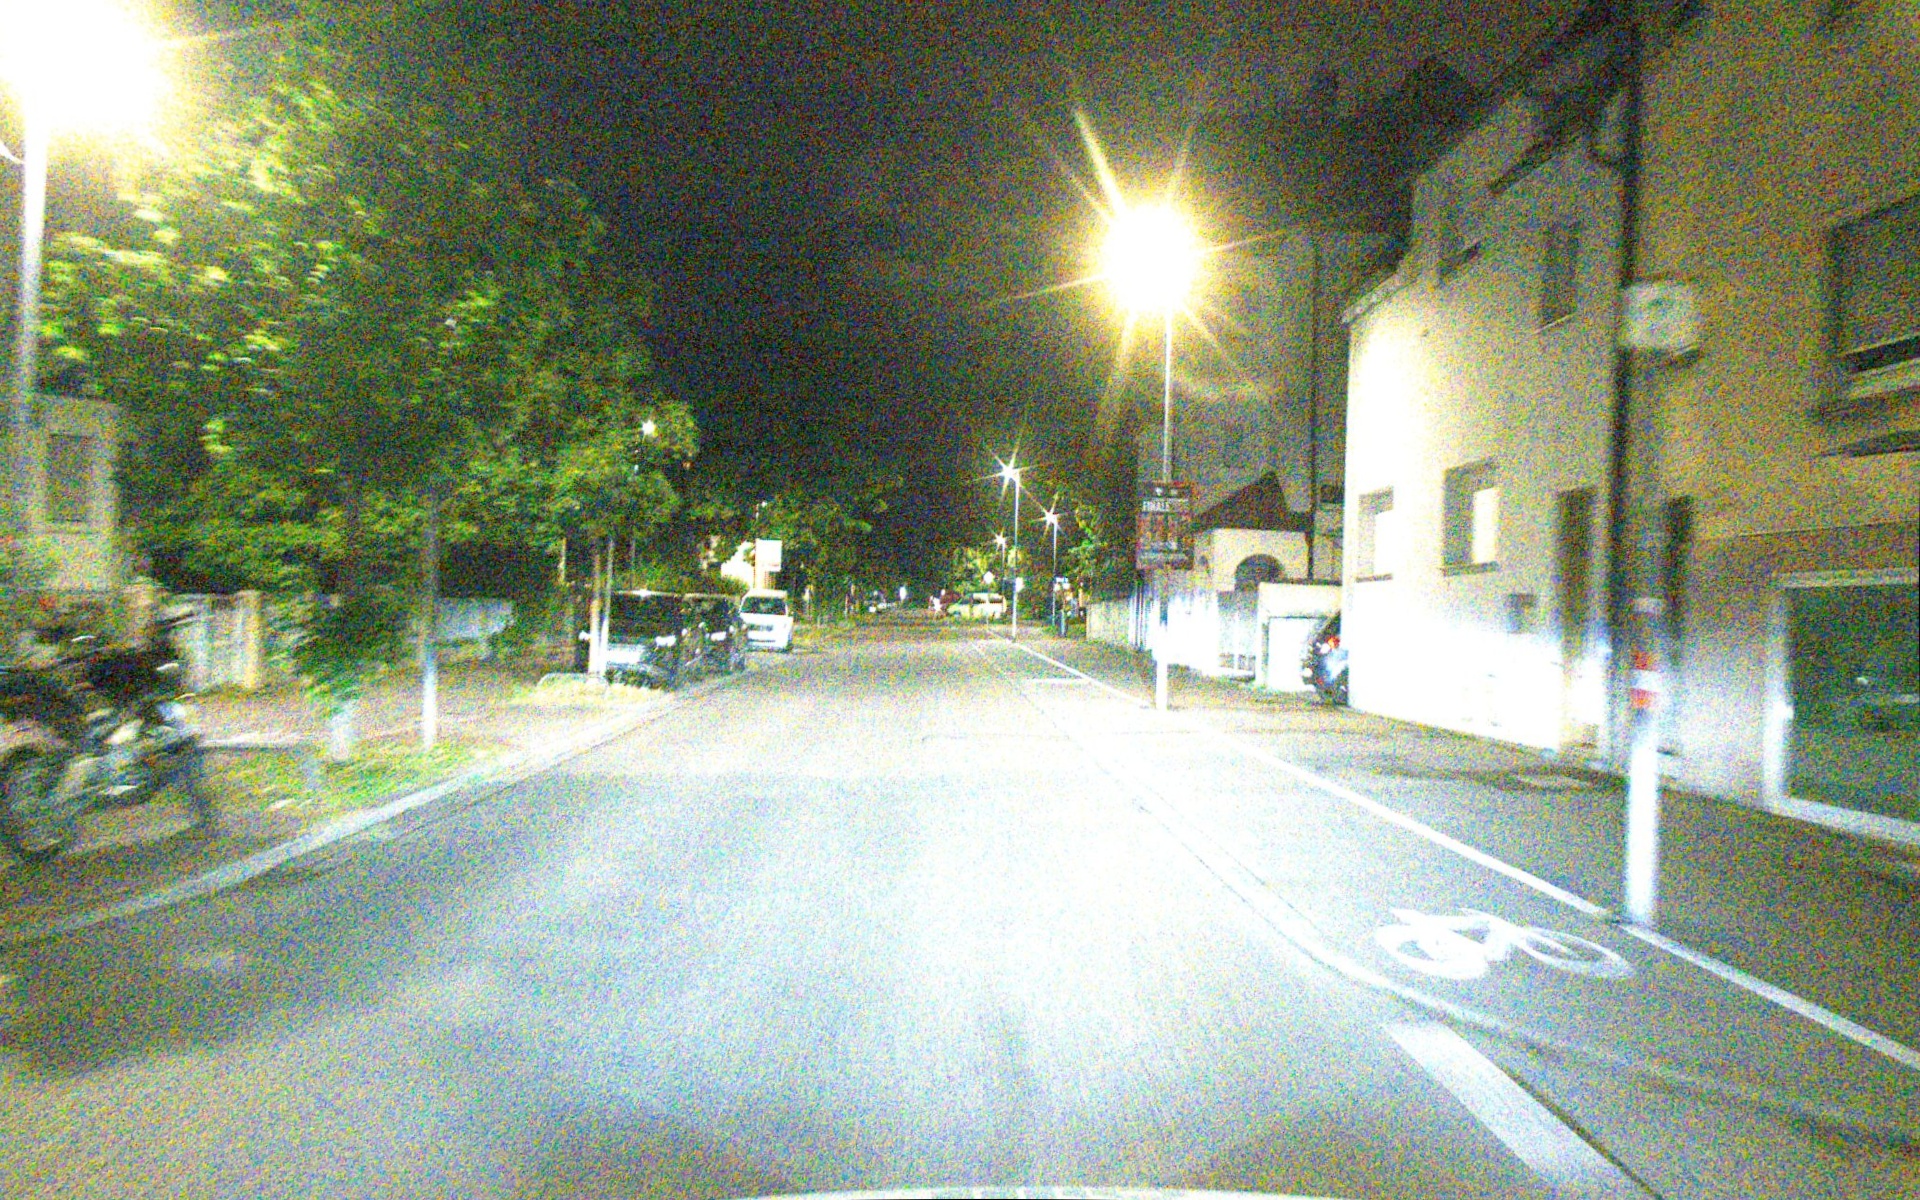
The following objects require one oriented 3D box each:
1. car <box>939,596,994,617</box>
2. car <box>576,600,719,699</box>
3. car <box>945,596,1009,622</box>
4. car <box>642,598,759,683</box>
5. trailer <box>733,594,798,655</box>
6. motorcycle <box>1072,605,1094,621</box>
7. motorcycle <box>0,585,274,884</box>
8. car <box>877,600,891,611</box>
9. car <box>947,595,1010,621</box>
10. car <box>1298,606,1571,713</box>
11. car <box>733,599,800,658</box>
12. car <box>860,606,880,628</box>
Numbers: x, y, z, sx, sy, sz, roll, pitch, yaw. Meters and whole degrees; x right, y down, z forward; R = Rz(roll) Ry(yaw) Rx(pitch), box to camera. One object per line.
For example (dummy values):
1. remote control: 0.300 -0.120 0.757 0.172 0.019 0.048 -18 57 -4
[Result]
1. car: 0.634 0.643 158.595 5.072 1.920 2.103 -1 0 8
2. car: -5.262 0.788 28.333 1.653 1.537 4.278 1 0 -1
3. car: 1.343 0.694 133.841 5.079 2.049 2.100 -1 0 -3
4. car: -5.154 0.759 33.384 1.731 1.546 4.277 2 0 -1
5. trailer: -5.921 0.742 50.552 1.418 1.717 3.426 3 0 1
6. motorcycle: 10.410 1.105 140.069 1.048 1.350 2.706 1 1 22
7. motorcycle: -4.807 0.667 9.325 0.730 1.477 2.197 1 0 7
8. car: -9.505 0.671 206.265 1.649 1.354 3.597 1 0 -3
9. car: 1.534 0.671 136.911 5.079 2.049 2.100 -1 0 -3
10. car: 7.096 0.878 24.998 3.634 1.499 1.731 1 -1 1
11. car: -5.508 0.789 47.361 1.638 1.548 2.977 3 0 -3
12. car: -8.577 1.621 157.179 1.788 2.021 4.463 3 -1 -3
